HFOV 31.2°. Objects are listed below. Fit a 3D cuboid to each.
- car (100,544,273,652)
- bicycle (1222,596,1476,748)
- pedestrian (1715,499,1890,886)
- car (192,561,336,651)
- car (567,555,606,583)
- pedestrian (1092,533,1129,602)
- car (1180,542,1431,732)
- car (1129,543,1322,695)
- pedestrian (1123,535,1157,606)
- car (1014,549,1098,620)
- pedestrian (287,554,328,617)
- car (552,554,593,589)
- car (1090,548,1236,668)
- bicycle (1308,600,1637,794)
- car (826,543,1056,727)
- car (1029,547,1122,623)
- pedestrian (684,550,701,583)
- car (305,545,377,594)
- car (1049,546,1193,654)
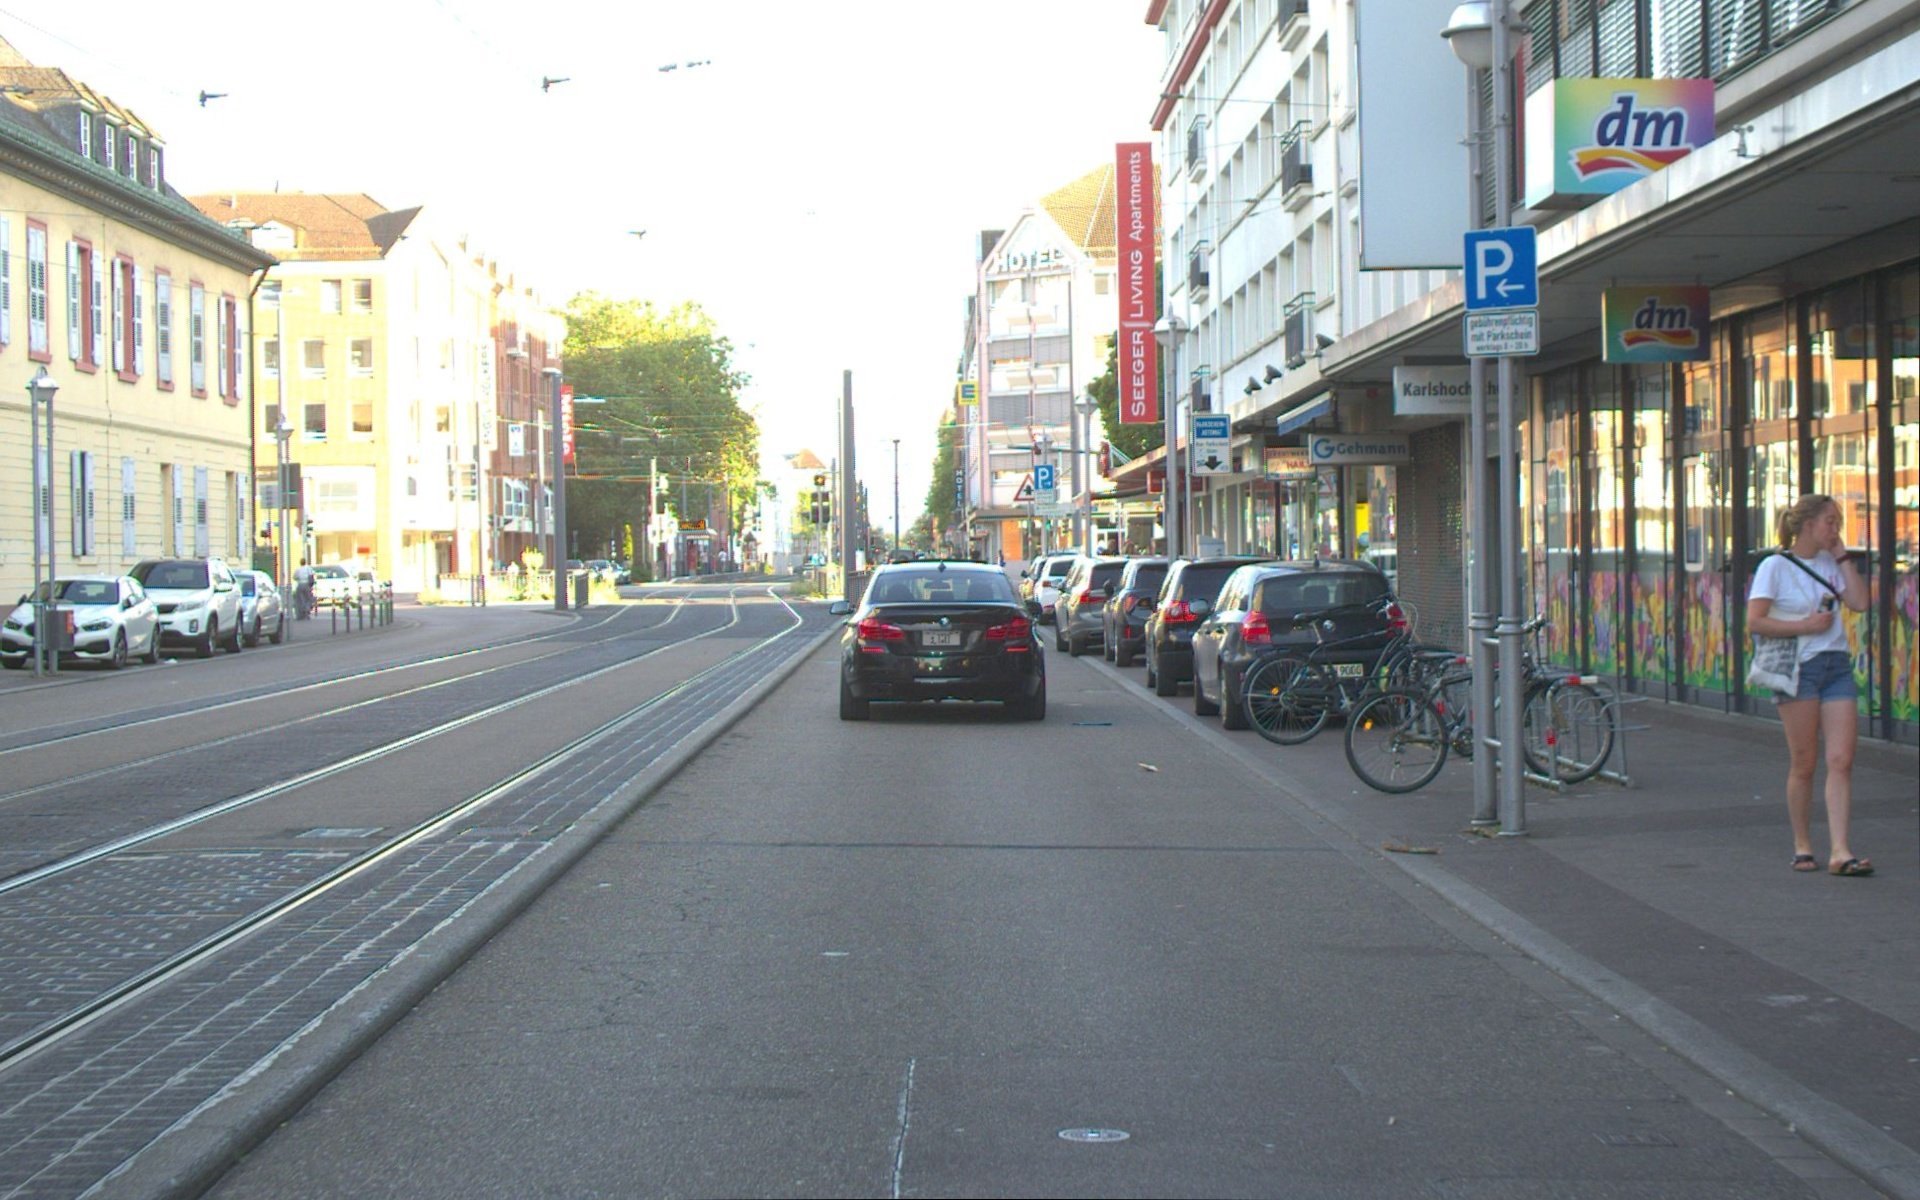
[{"bbox_3d":[-13.597,-0.056,60.685,1.812,1.779,4.497,2,1,3],"label":"car"},{"bbox_3d":[3.062,0.563,27.170,1.885,1.134,0.676,-1,1,-3],"label":"bicycle"},{"bbox_3d":[3.839,0.410,15.701,0.604,1.721,0.646,-1,1,-1],"label":"pedestrian"},{"bbox_3d":[-13.330,0.082,66.051,1.812,1.612,4.215,-1,1,1],"label":"car"},{"bbox_3d":[-21.524,-1.794,198.345,1.993,1.579,4.587,-1,1,-3],"label":"car"},{"bbox_3d":[3.797,-0.831,86.990,0.827,1.712,0.843,-2,1,0],"label":"pedestrian"},{"bbox_3d":[2.997,0.276,30.610,1.744,1.507,4.258,-2,1,0],"label":"car"},{"bbox_3d":[2.851,0.163,37.653,1.720,1.507,4.167,-2,1,0],"label":"car"},{"bbox_3d":[4.475,-0.744,85.597,0.728,1.735,0.863,-2,1,0],"label":"pedestrian"},{"bbox_3d":[2.172,-0.376,78.661,1.735,1.507,4.686,-2,1,0],"label":"car"},{"bbox_3d":[-16.669,-0.371,87.852,0.951,1.579,0.733,-1,1,-8],"label":"pedestrian"},{"bbox_3d":[-21.414,-1.585,190.117,1.993,1.895,4.812,-1,1,-3],"label":"car"},{"bbox_3d":[2.729,0.069,46.961,1.685,1.507,4.035,-2,1,0],"label":"car"},{"bbox_3d":[3.179,0.593,21.414,1.885,1.073,0.676,-3,1,-3],"label":"bicycle"},{"bbox_3d":[-0.194,0.277,32.299,1.993,1.579,4.000,-1,1,-1],"label":"car"},{"bbox_3d":[2.438,-0.351,73.287,1.785,1.507,4.052,-2,1,0],"label":"car"},{"bbox_3d":[-16.548,-2.090,212.724,0.988,2.007,0.726,1,0,-2],"label":"pedestrian"},{"bbox_3d":[-20.047,-1.004,111.532,1.806,1.507,4.035,-1,1,-3],"label":"car"},{"bbox_3d":[2.417,-0.035,52.599,1.790,1.507,4.712,-2,1,-2],"label":"car"}]
